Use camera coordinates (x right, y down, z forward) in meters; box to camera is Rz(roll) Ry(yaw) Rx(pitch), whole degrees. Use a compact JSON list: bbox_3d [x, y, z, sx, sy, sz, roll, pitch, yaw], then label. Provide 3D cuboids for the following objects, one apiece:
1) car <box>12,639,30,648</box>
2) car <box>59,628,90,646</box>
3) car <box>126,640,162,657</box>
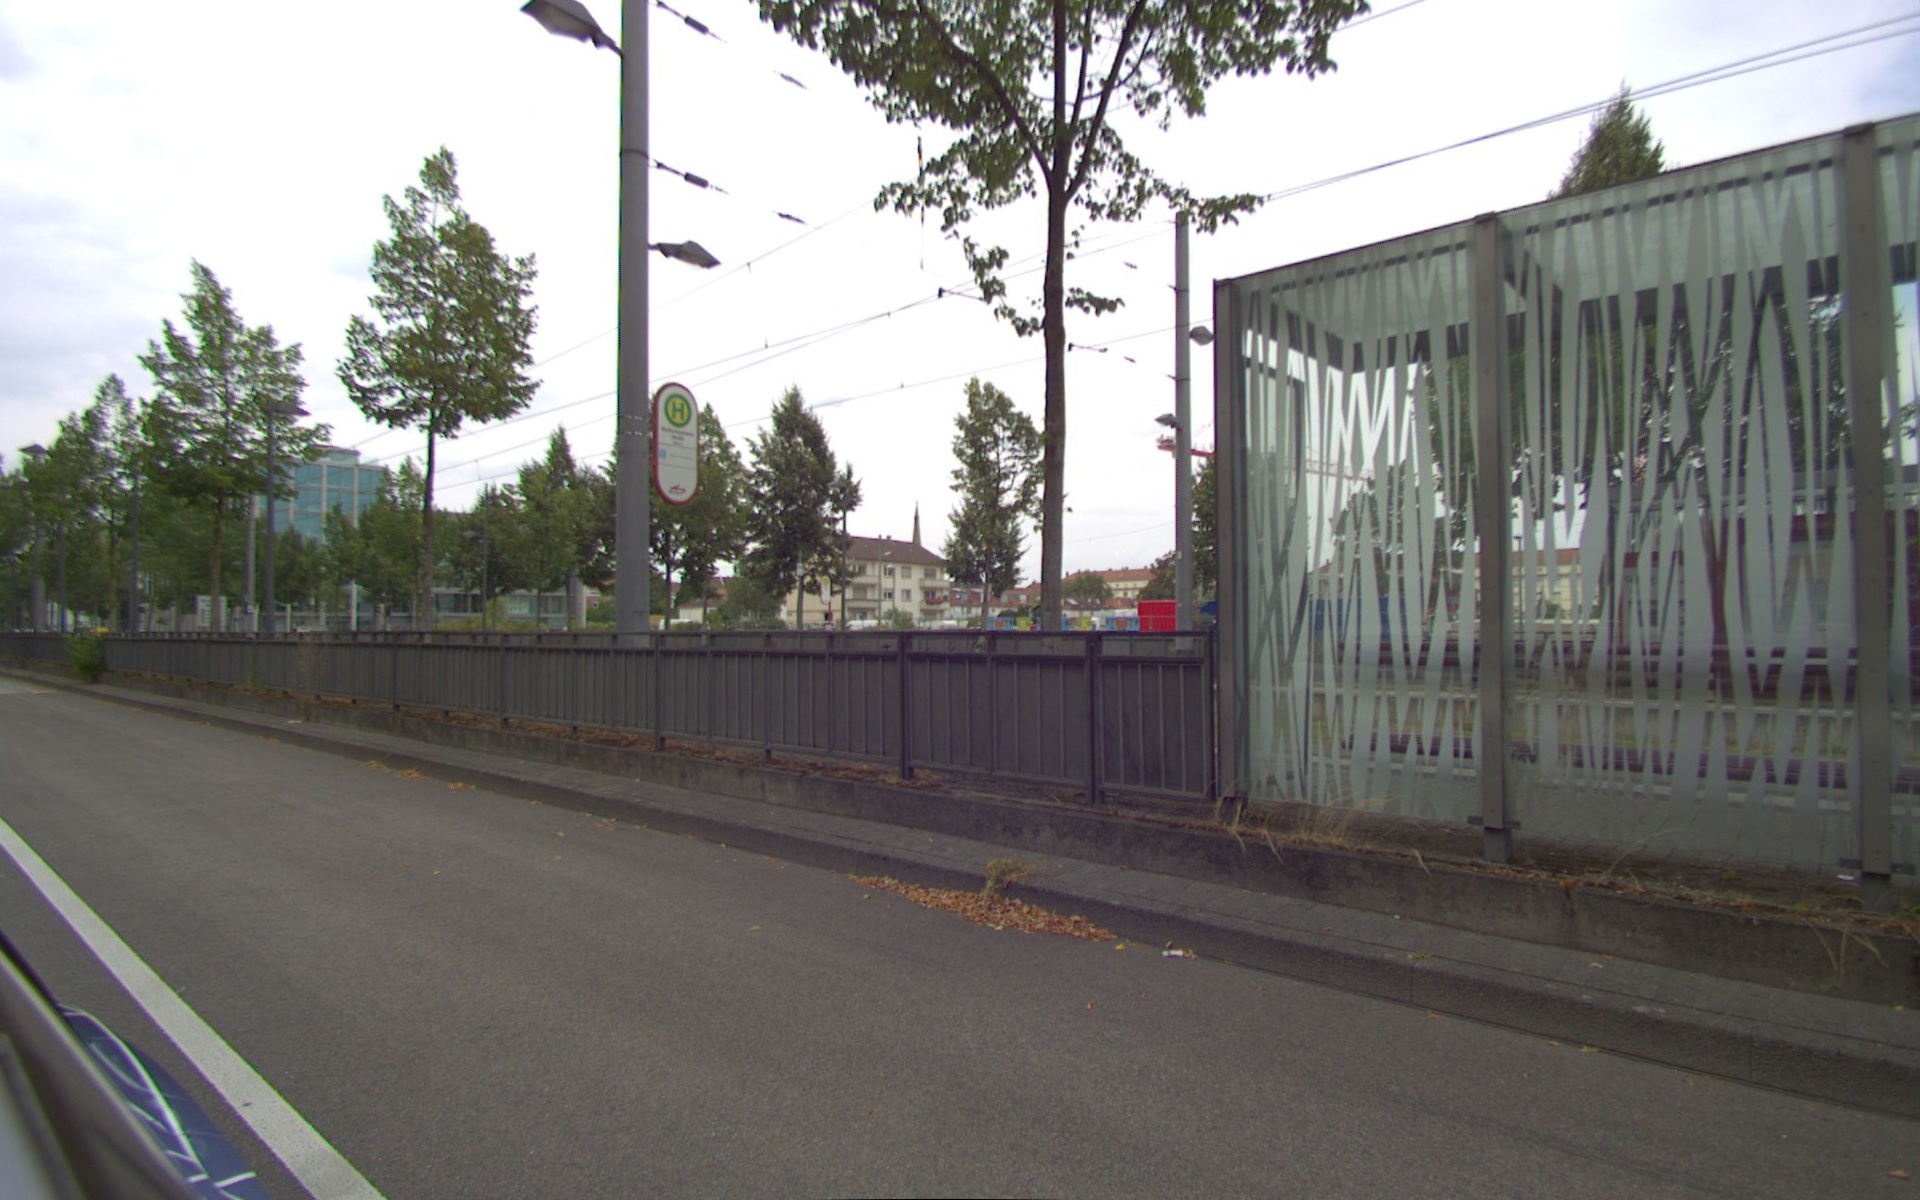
[{"bbox_3d":[-147.686,6.859,159.145,3.864,1.468,1.729,-2,-2,42],"label":"car"},{"bbox_3d":[-99.690,4.166,113.897,5.093,1.959,1.973,-2,-2,41],"label":"car"},{"bbox_3d":[-80.870,4.766,100.280,4.687,1.669,1.809,-2,-3,39],"label":"car"}]
